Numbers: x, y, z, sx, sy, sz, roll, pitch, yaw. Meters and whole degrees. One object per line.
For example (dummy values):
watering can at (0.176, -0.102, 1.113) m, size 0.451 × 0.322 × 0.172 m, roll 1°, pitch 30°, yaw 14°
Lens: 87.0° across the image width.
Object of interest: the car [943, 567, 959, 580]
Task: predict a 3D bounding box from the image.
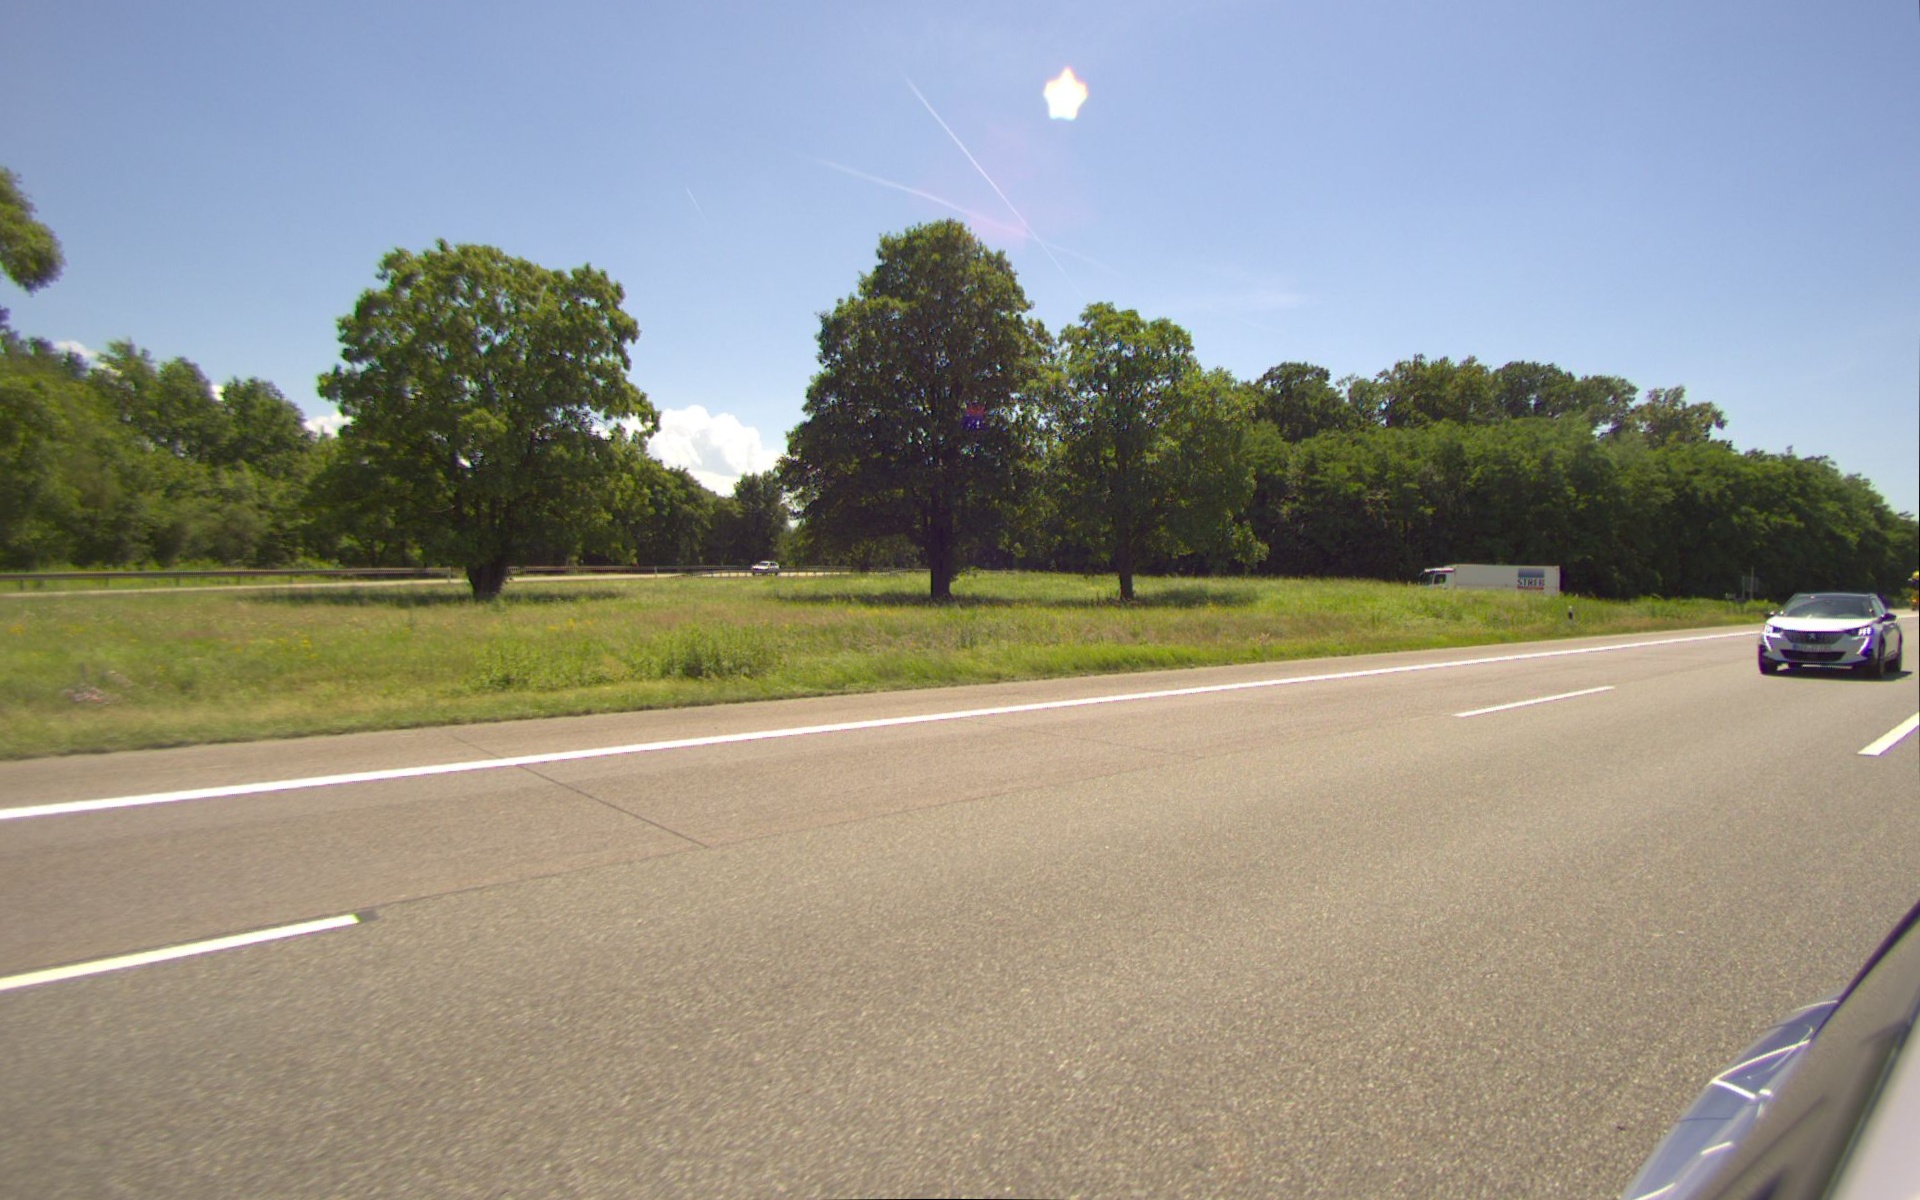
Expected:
car at (-1.399, -4.010, 154.382) m, size 1.965 × 1.905 × 3.993 m, roll 0°, pitch 0°, yaw 6°

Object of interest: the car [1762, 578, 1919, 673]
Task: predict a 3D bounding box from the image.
car at (17.326, 0.405, 19.738) m, size 4.725 × 1.628 × 1.830 m, roll -1°, pitch 1°, yaw -41°

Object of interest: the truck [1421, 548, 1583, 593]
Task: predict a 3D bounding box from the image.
truck at (41.433, -2.204, 77.689) m, size 10.583 × 3.361 × 3.033 m, roll 0°, pitch 0°, yaw 6°
